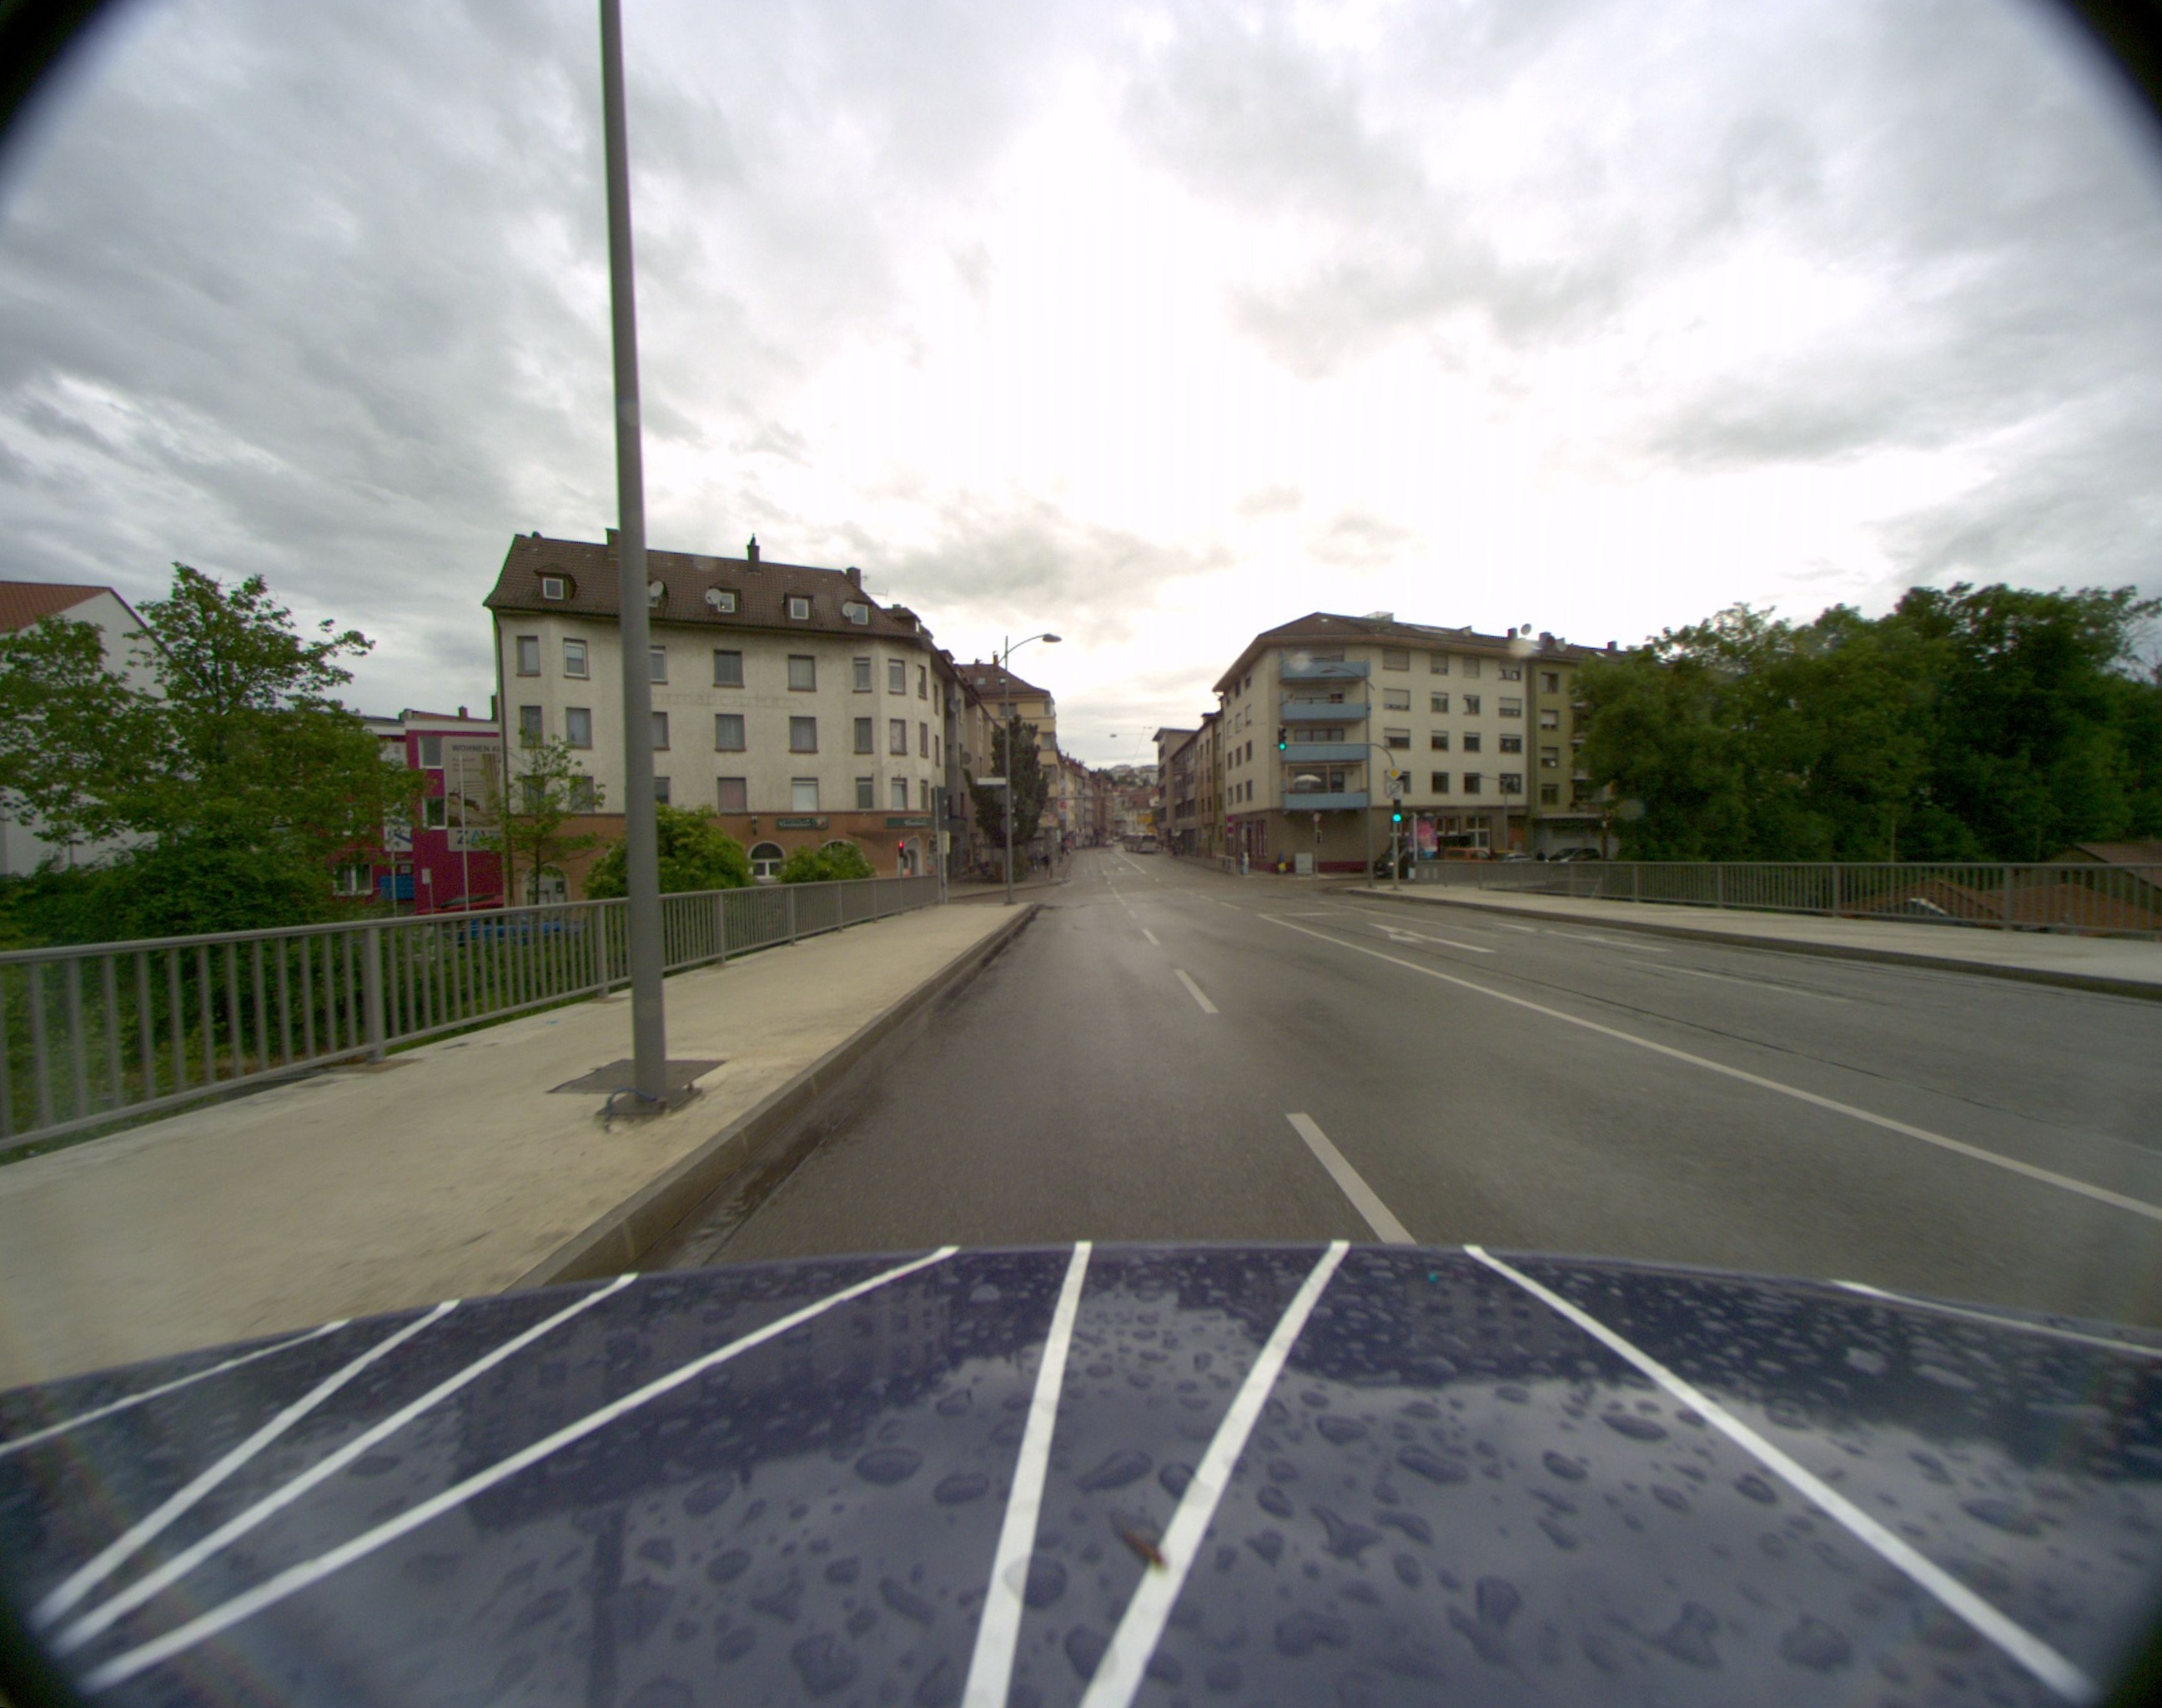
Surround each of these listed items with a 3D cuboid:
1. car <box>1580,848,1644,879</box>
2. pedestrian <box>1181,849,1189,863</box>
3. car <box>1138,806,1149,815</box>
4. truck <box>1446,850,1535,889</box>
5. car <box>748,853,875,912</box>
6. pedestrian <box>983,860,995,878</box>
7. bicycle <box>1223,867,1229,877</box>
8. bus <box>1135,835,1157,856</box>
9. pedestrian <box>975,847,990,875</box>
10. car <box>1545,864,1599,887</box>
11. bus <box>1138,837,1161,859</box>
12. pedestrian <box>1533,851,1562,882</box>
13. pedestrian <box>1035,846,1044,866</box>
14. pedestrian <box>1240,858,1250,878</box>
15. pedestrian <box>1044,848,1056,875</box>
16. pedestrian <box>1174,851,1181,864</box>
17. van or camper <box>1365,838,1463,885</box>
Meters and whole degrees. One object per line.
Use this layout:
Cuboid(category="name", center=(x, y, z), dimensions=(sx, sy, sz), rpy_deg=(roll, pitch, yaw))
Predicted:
Cuboid(category="car", center=(37.804, 0.669, 54.090), dimensions=(4.004, 2.002, 1.996), rpy_deg=(-2, 1, -24))
Cuboid(category="pedestrian", center=(12.871, 0.228, 94.175), dimensions=(0.839, 1.605, 0.711), rpy_deg=(-2, 2, 1))
Cuboid(category="car", center=(12.985, -9.095, 158.494), dimensions=(1.936, 1.747, 4.571), rpy_deg=(-2, 1, -1))
Cuboid(category="truck", center=(25.565, 0.922, 47.421), dimensions=(5.322, 2.117, 2.402), rpy_deg=(-2, 1, -29))
Cuboid(category="car", center=(-11.355, 1.148, 32.062), dimensions=(4.762, 2.002, 1.996), rpy_deg=(-5, 1, -22))
Cuboid(category="pedestrian", center=(-6.018, 0.975, 49.632), dimensions=(0.666, 1.183, 0.557), rpy_deg=(-2, 2, -1))
Cuboid(category="bicycle", center=(11.792, 1.457, 61.836), dimensions=(0.265, 0.779, 1.111), rpy_deg=(-2, 1, 1))
Cuboid(category="bus", center=(10.471, -1.363, 122.601), dimensions=(2.765, 3.170, 8.910), rpy_deg=(-2, 1, 1))
Cuboid(category="pedestrian", center=(-7.305, 0.536, 56.288), dimensions=(0.899, 2.002, 1.200), rpy_deg=(-2, 2, 0))
Cuboid(category="car", center=(36.149, 1.574, 55.931), dimensions=(3.708, 1.490, 1.865), rpy_deg=(-2, 1, -31))
Cuboid(category="bus", center=(10.360, -1.011, 115.477), dimensions=(2.732, 3.170, 9.291), rpy_deg=(-2, 1, 1))
Cuboid(category="pedestrian", center=(27.008, 0.704, 43.963), dimensions=(1.073, 1.747, 1.060), rpy_deg=(-3, 2, -34))
Cuboid(category="pedestrian", center=(-3.573, 0.200, 65.964), dimensions=(0.620, 1.690, 0.656), rpy_deg=(-2, 2, 5))
Cuboid(category="pedestrian", center=(12.964, 1.101, 60.159), dimensions=(0.576, 1.545, 0.739), rpy_deg=(-2, 2, -2))
Cuboid(category="pedestrian", center=(-2.187, 0.533, 53.847), dimensions=(0.735, 1.831, 0.631), rpy_deg=(-2, 2, -1))
Cuboid(category="pedestrian", center=(11.993, 0.426, 94.560), dimensions=(0.801, 1.526, 0.711), rpy_deg=(-2, 2, 1))
Cuboid(category="van or camper", center=(21.707, 0.447, 49.426), dimensions=(6.491, 2.715, 1.996), rpy_deg=(-2, 2, -25))
